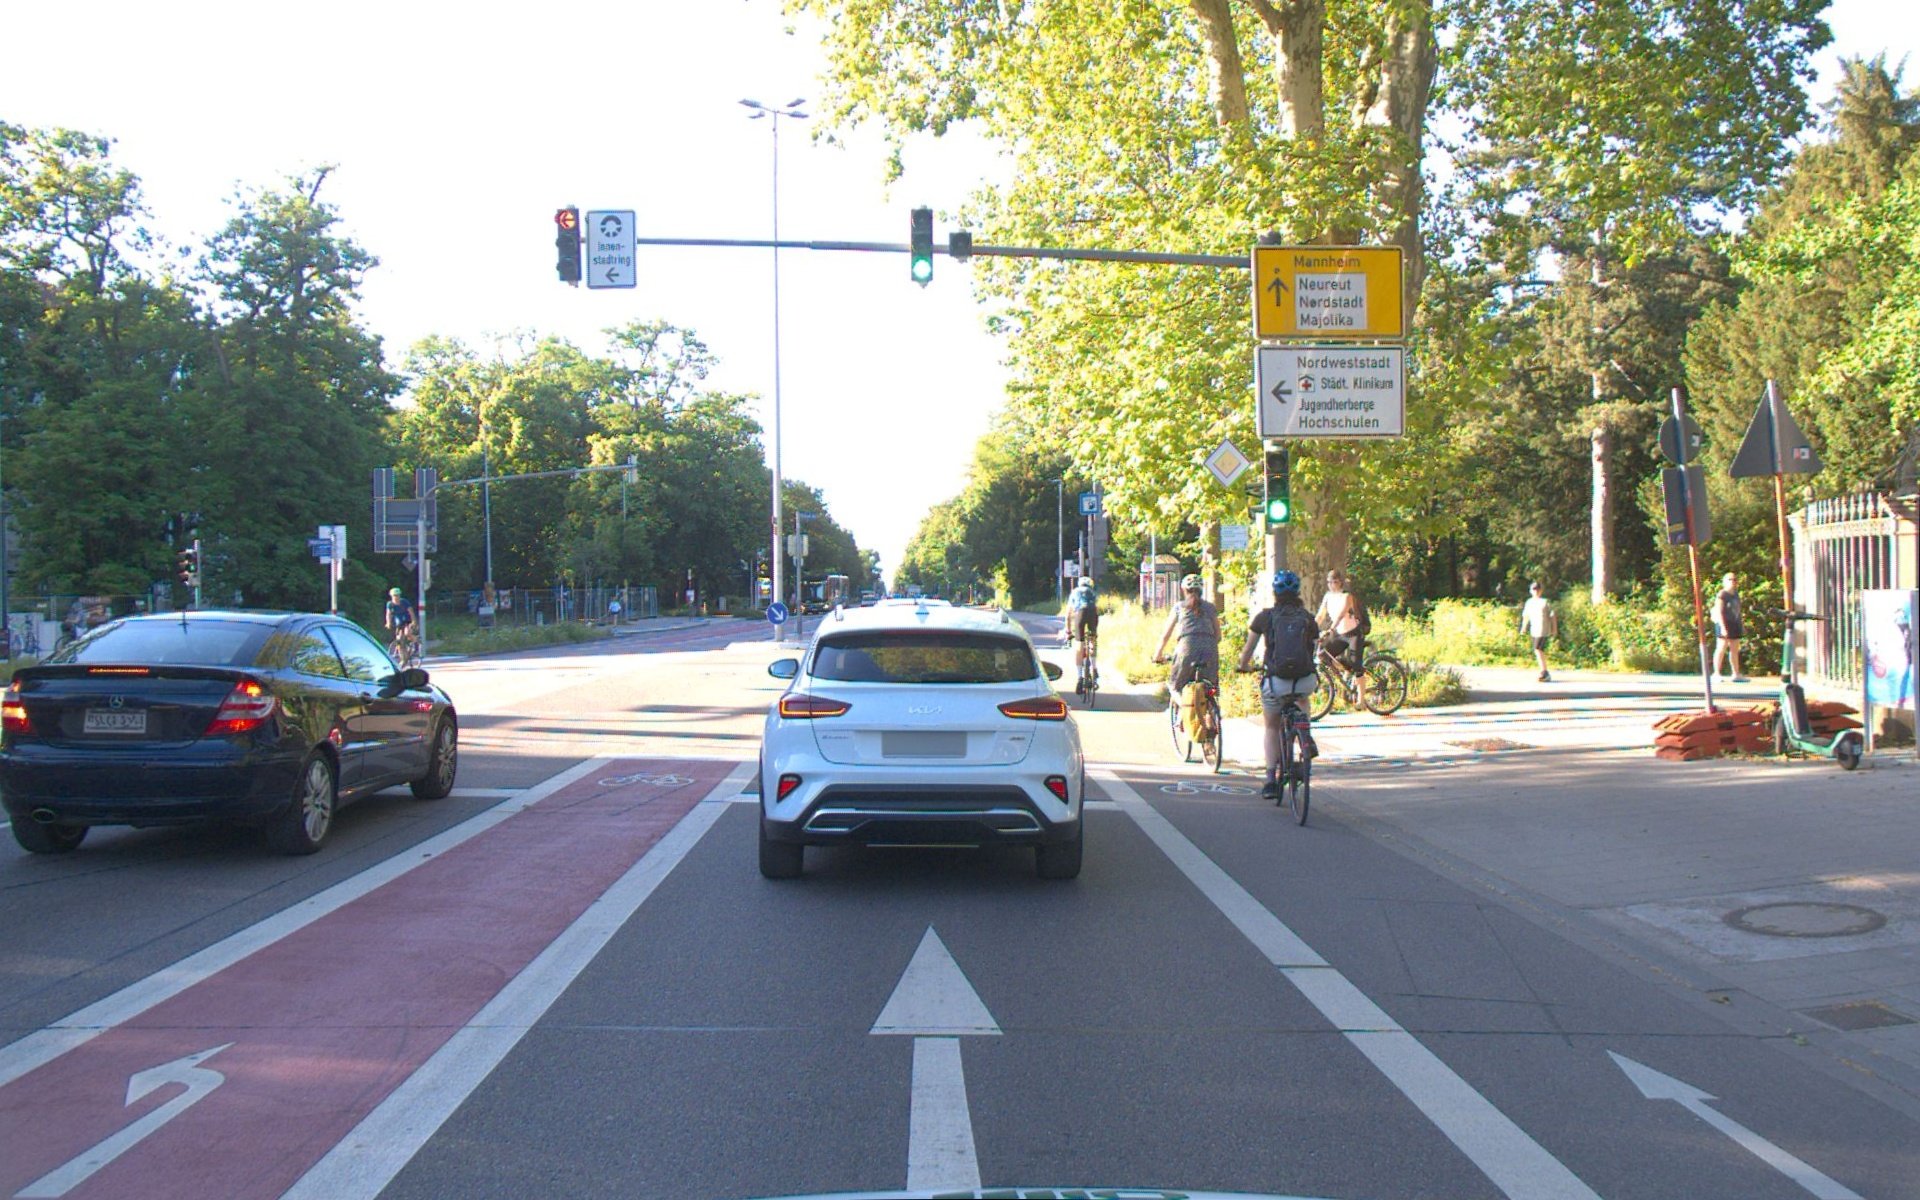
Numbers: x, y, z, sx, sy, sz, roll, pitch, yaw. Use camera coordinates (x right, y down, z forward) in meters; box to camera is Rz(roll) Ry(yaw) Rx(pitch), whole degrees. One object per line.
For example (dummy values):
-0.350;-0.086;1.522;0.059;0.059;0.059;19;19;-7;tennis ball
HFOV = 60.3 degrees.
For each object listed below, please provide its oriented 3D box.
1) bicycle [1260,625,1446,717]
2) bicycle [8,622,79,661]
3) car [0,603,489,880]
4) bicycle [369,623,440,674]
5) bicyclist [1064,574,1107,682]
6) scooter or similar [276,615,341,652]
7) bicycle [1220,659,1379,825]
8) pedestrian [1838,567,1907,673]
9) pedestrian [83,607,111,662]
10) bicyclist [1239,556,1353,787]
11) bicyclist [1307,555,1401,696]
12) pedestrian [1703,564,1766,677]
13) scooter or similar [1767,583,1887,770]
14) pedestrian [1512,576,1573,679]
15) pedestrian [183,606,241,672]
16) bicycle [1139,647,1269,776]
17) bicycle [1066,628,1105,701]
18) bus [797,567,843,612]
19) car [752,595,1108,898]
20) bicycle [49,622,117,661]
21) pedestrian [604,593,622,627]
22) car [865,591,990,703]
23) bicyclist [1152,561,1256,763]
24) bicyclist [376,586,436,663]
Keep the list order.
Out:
4.754;0.838;20.031;2.057;0.993;0.748;-2;0;-14;bicycle
-27.957;1.265;50.460;1.826;1.168;0.442;0;-1;-8;bicycle
-4.573;0.765;11.045;1.670;1.429;4.263;-1;0;-1;car
-12.181;1.042;36.333;0.650;1.006;2.504;-2;0;1;bicycle
1.772;0.398;23.429;0.543;1.504;0.716;0;-1;-2;bicyclist
-20.847;1.057;52.973;0.697;1.144;1.916;0;-1;31;scooter or similar
2.434;0.986;12.101;0.655;1.027;2.080;1;0;-2;bicycle
14.947;0.323;27.110;0.808;1.711;0.694;0;-1;13;pedestrian
-26.072;1.038;49.970;0.617;1.608;0.444;-1;0;-11;pedestrian
2.439;0.505;12.075;0.652;1.630;0.720;1;0;-3;bicyclist
4.763;0.301;20.035;0.832;1.642;0.733;-2;0;-13;bicyclist
12.005;0.313;25.659;0.675;1.729;0.644;0;-1;-1;pedestrian
6.558;0.551;12.553;0.223;1.350;1.171;-1;0;-2;scooter or similar
8.983;0.413;25.487;0.802;1.544;0.915;0;-1;25;pedestrian
-19.155;0.991;42.353;1.067;1.631;0.999;-1;0;-7;pedestrian
2.272;1.007;15.719;0.742;1.031;2.568;1;0;-2;bicycle
1.759;0.893;23.355;0.393;0.973;1.550;0;0;-1;bicycle
-12.323;-0.903;147.122;3.667;3.737;13.231;-1;0;-3;bus
-0.221;0.727;10.286;1.785;1.506;3.934;0;0;-2;car
-26.617;1.256;50.211;1.826;1.168;0.290;0;-1;-8;bicycle
-18.516;0.548;88.322;0.769;1.817;0.751;0;-1;-1;pedestrian
-0.521;0.642;24.550;1.694;1.509;3.515;-1;0;-3;car
2.285;0.561;15.620;0.738;1.827;1.164;1;0;-2;bicyclist
-12.187;0.532;36.394;0.857;1.636;1.188;-1;0;1;bicyclist
